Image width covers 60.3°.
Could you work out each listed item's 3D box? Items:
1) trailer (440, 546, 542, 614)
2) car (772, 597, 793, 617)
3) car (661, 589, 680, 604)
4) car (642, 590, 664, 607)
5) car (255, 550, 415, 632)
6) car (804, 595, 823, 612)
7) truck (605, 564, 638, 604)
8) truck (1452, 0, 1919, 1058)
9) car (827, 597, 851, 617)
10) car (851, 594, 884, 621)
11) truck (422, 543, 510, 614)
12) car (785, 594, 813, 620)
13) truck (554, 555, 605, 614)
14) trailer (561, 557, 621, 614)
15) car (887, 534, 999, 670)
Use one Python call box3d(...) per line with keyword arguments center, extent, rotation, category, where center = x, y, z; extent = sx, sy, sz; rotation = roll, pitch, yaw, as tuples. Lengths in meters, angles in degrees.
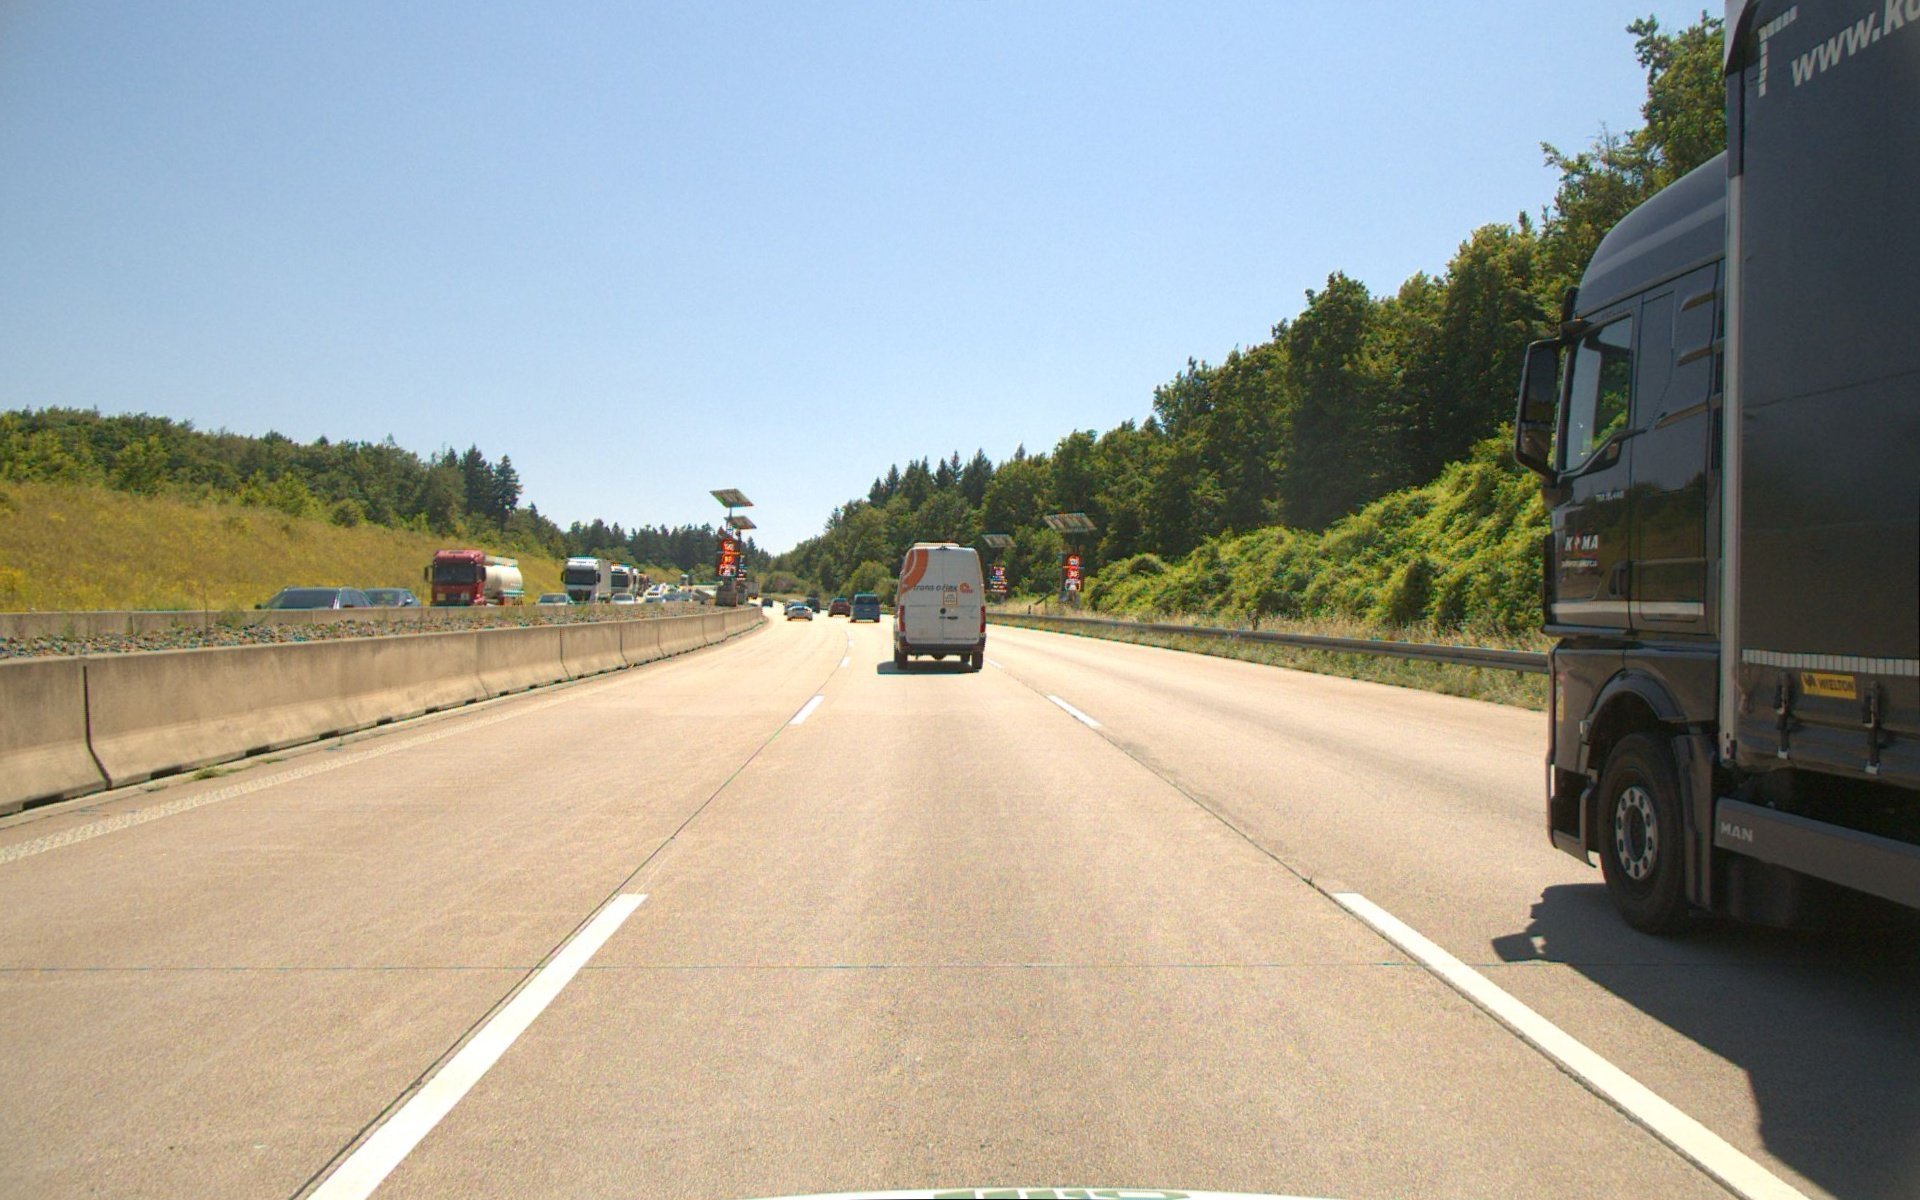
box3d(center=(-25.084, -0.977, 89.174), extent=(2.876, 3.271, 11.820), rotation=(3, -1, -4), category="trailer")
box3d(center=(-16.968, 0.666, 158.209), extent=(1.955, 1.713, 3.994), rotation=(3, -1, -6), category="car")
box3d(center=(-35.092, -0.424, 200.583), extent=(1.955, 1.713, 3.995), rotation=(0, 0, -6), category="car")
box3d(center=(-32.640, -0.160, 175.843), extent=(1.955, 1.713, 3.995), rotation=(0, 0, -6), category="car")
box3d(center=(-13.131, -0.178, 35.004), extent=(1.953, 1.613, 3.998), rotation=(1, 0, -2), category="car")
box3d(center=(-16.396, 0.410, 184.406), extent=(1.955, 1.713, 3.994), rotation=(3, -1, -6), category="car")
box3d(center=(-37.389, -1.728, 182.851), extent=(2.878, 4.241, 6.219), rotation=(3, -1, -7), category="truck")
box3d(center=(4.552, -0.605, 4.495), extent=(3.095, 4.087, 10.605), rotation=(1, 0, -1), category="truck")
box3d(center=(-10.883, 0.652, 148.665), extent=(1.955, 1.713, 3.994), rotation=(3, -1, -6), category="car")
box3d(center=(-6.420, 0.507, 114.320), extent=(1.955, 1.713, 3.994), rotation=(3, -1, -6), category="car")
box3d(center=(-24.581, -1.002, 82.644), extent=(2.876, 3.271, 5.899), rotation=(3, -1, -5), category="truck")
box3d(center=(-11.741, 0.513, 120.362), extent=(1.955, 1.713, 3.994), rotation=(3, -1, -6), category="car")
box3d(center=(-28.815, -1.116, 125.569), extent=(2.877, 4.241, 5.753), rotation=(3, -1, -6), category="truck")
box3d(center=(-29.554, -1.087, 132.922), extent=(2.877, 4.241, 14.369), rotation=(3, -1, -6), category="trailer")
box3d(center=(-0.481, 0.017, 38.172), extent=(2.183, 2.894, 5.449), rotation=(1, 1, -5), category="car")
